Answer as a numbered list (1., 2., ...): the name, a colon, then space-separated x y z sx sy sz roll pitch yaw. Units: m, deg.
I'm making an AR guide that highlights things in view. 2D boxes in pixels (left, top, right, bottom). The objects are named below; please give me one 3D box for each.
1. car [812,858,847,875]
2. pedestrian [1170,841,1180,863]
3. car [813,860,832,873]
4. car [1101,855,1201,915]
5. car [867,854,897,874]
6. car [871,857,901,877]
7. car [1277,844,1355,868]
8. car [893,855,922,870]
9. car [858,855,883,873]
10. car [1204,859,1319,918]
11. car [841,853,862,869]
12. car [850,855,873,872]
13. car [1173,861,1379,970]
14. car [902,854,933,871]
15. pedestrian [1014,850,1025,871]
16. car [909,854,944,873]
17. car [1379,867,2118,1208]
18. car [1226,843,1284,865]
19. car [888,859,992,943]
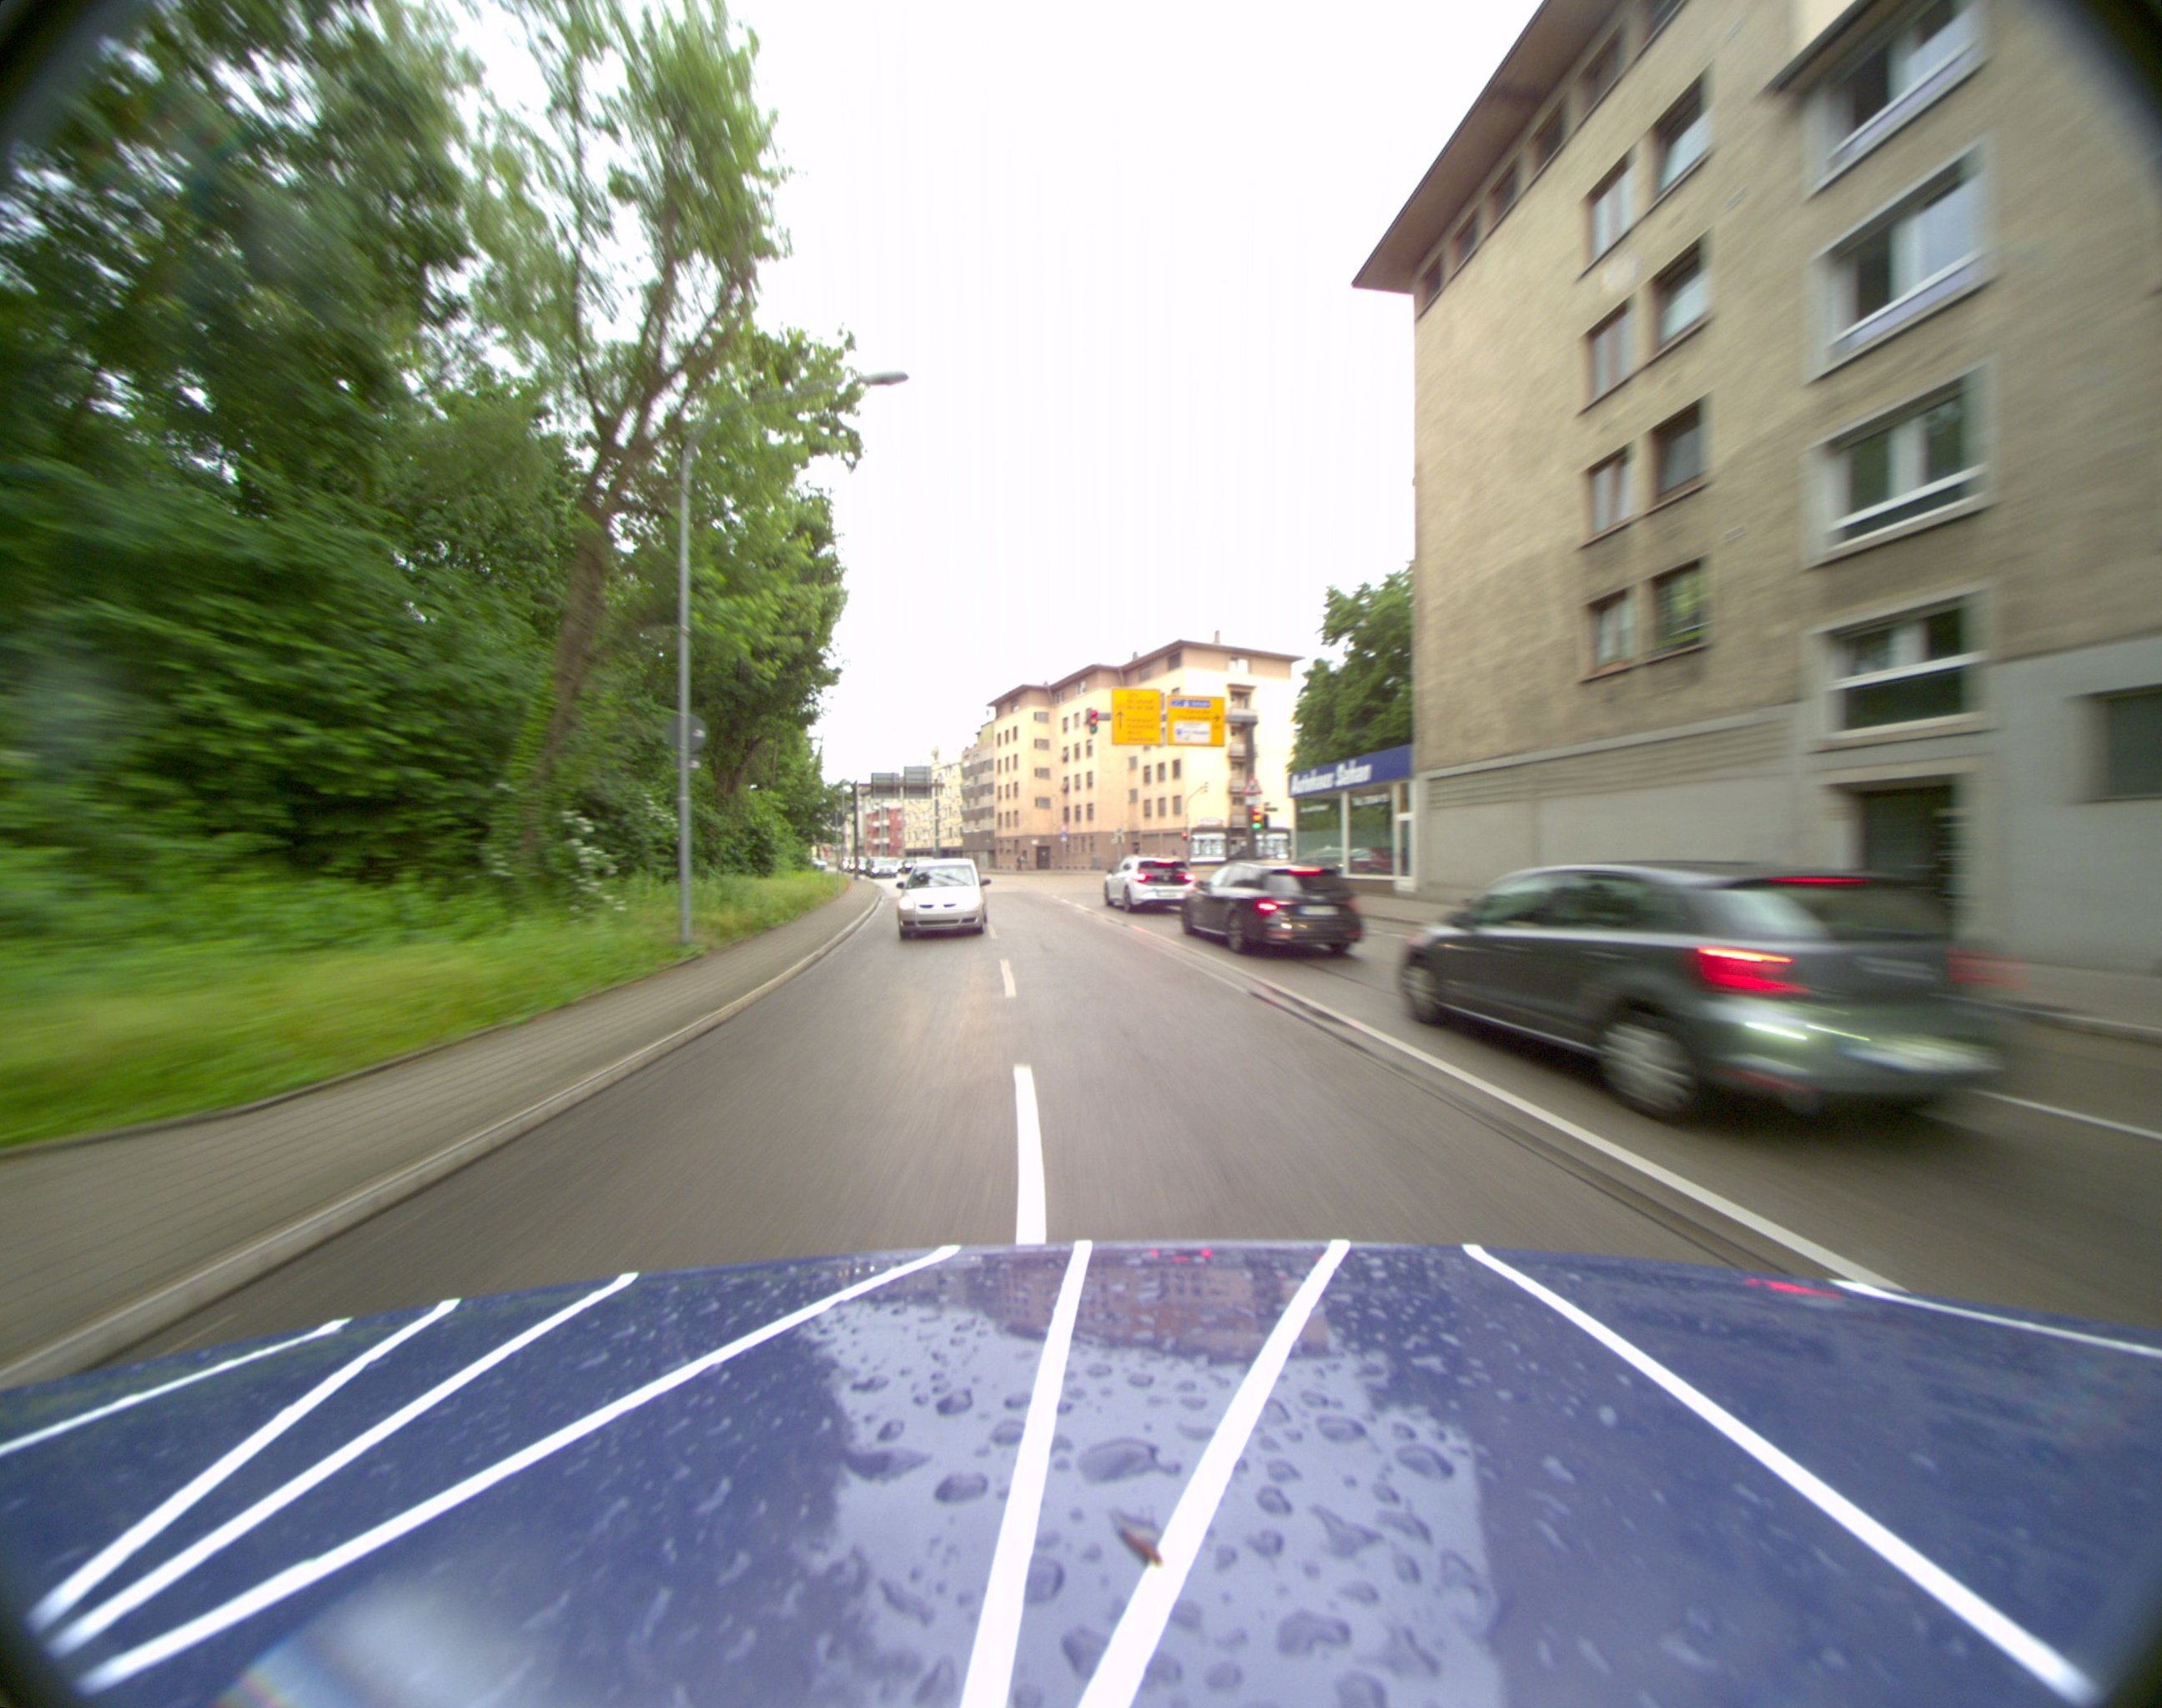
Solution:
1. car: -31.928 1.608 96.265 4.475 2.002 2.004 -1 1 38
2. pedestrian: 7.198 -0.138 58.229 0.582 1.629 0.618 -1 1 -3
3. car: -34.908 1.641 102.469 1.913 1.701 4.887 -2 1 -23
4. car: 1.832 0.783 21.307 1.791 1.487 4.212 0 0 -9
5. car: -16.943 0.797 64.464 2.002 1.607 4.612 -2 1 -20
6. car: -14.949 0.973 58.172 1.822 1.400 4.225 -2 1 -19
7. car: 15.568 0.135 50.463 4.506 1.454 1.998 -1 1 -8
8. car: -17.096 0.810 74.752 2.002 1.469 4.610 -1 0 -24
9. car: -19.819 0.910 71.344 1.684 1.646 3.992 -1 0 -24
10. car: 4.895 0.888 21.149 1.663 1.447 3.996 1 0 -10
11. car: -25.240 0.733 83.544 1.684 1.646 3.992 -1 0 -24
12. car: -22.251 0.894 76.923 1.684 1.646 3.992 -1 0 -24
13. car: 2.976 0.864 12.770 1.796 1.399 4.622 0 0 -7
14. car: -14.832 0.764 68.805 1.922 1.469 4.611 -1 0 -23
15. pedestrian: -6.031 0.679 74.277 0.812 2.002 0.857 -2 0 -25
16. car: -12.828 0.754 63.002 1.881 1.469 4.545 -1 0 -24
17. car: 3.806 0.860 5.359 1.684 1.439 3.818 0 0 -4
18. car: 13.396 -0.038 58.680 1.762 1.638 4.270 -2 2 -34
19. car: -2.907 0.895 16.454 1.753 1.510 3.998 -2 0 -5
